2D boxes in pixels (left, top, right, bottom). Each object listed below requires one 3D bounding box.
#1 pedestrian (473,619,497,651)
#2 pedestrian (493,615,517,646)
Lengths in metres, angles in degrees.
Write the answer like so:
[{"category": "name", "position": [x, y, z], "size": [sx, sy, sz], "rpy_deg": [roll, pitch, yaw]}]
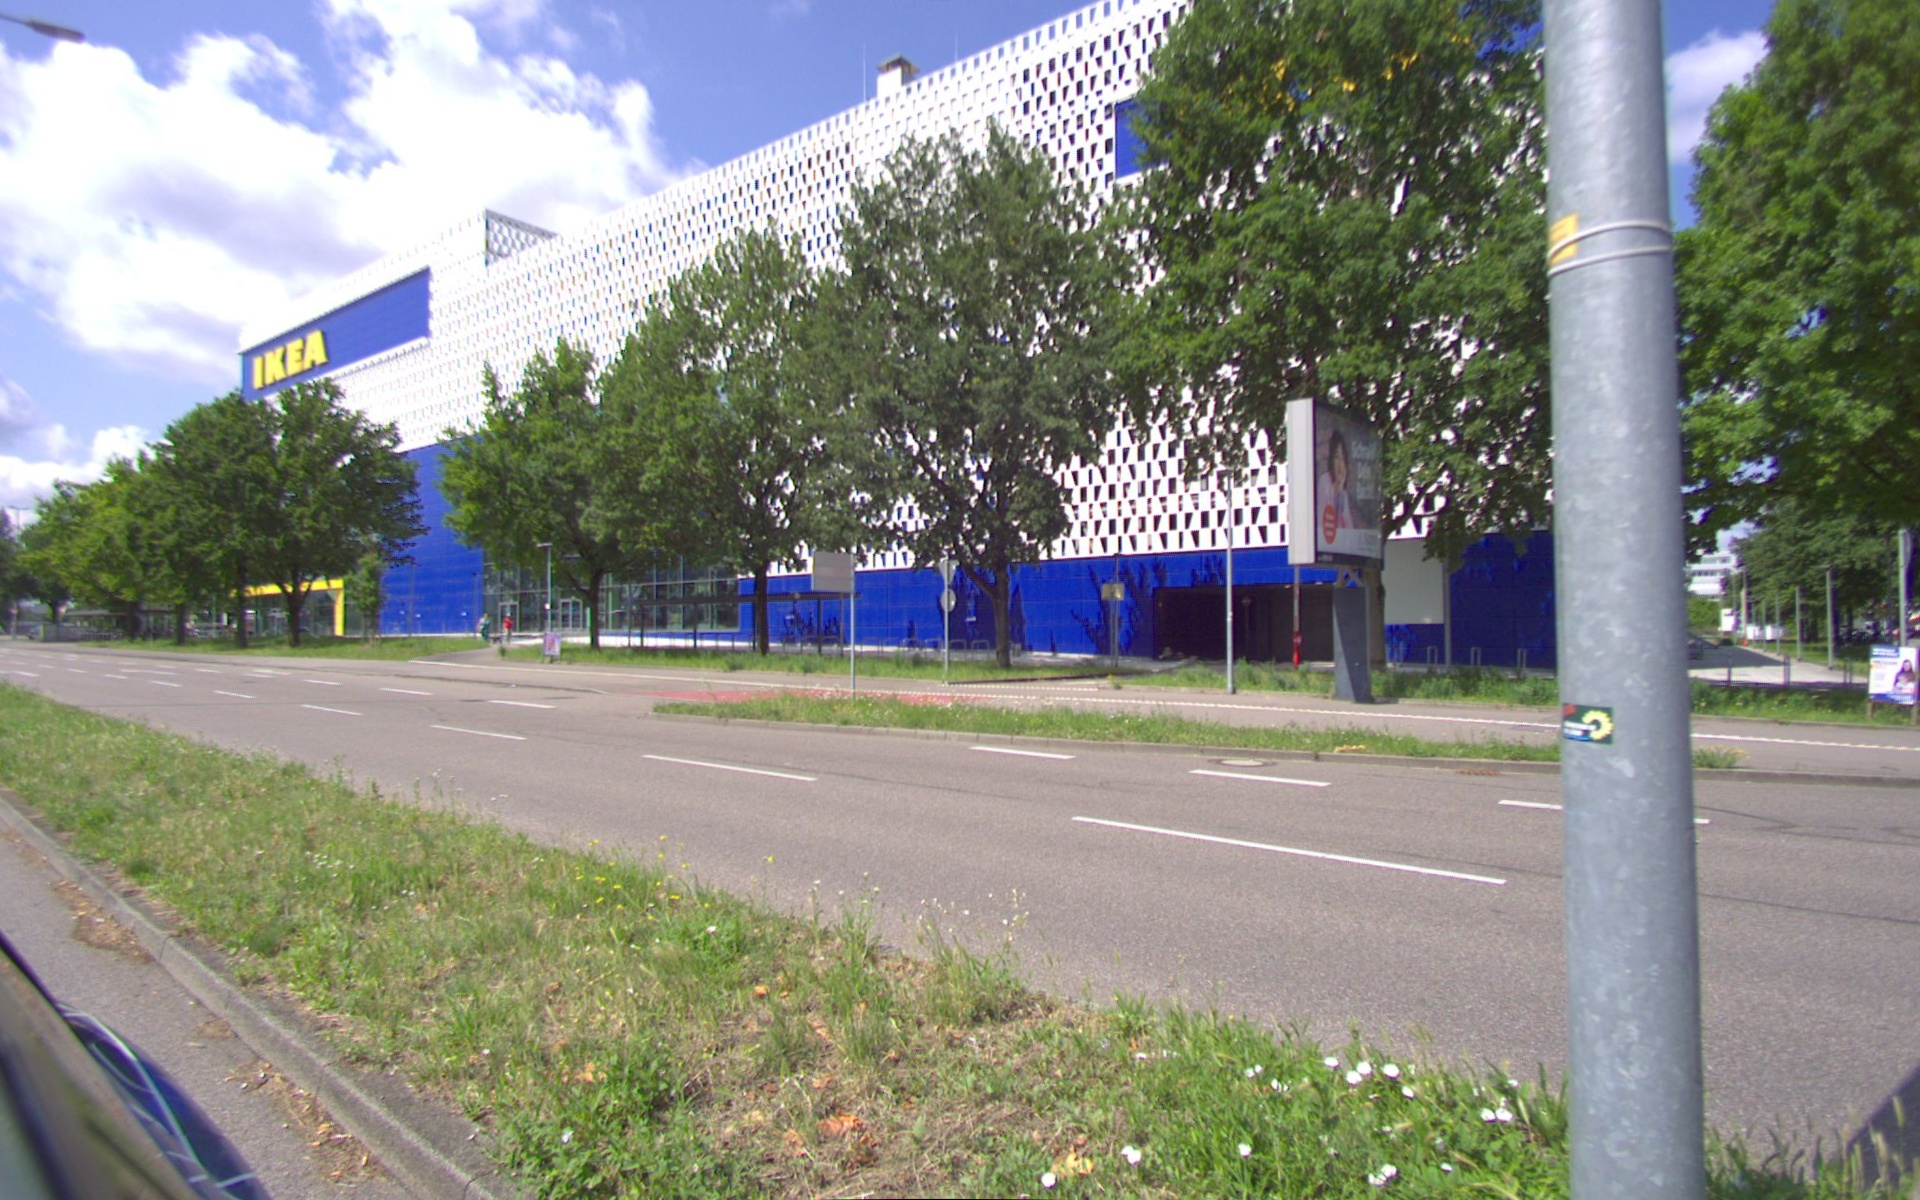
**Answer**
[{"category": "pedestrian", "position": [-26.316, 1.934, 56.065], "size": [1.165, 1.741, 0.842], "rpy_deg": [-1, 0, 43]}, {"category": "pedestrian", "position": [-25.531, 1.709, 56.825], "size": [1.165, 1.741, 0.842], "rpy_deg": [-1, 0, 43]}]
